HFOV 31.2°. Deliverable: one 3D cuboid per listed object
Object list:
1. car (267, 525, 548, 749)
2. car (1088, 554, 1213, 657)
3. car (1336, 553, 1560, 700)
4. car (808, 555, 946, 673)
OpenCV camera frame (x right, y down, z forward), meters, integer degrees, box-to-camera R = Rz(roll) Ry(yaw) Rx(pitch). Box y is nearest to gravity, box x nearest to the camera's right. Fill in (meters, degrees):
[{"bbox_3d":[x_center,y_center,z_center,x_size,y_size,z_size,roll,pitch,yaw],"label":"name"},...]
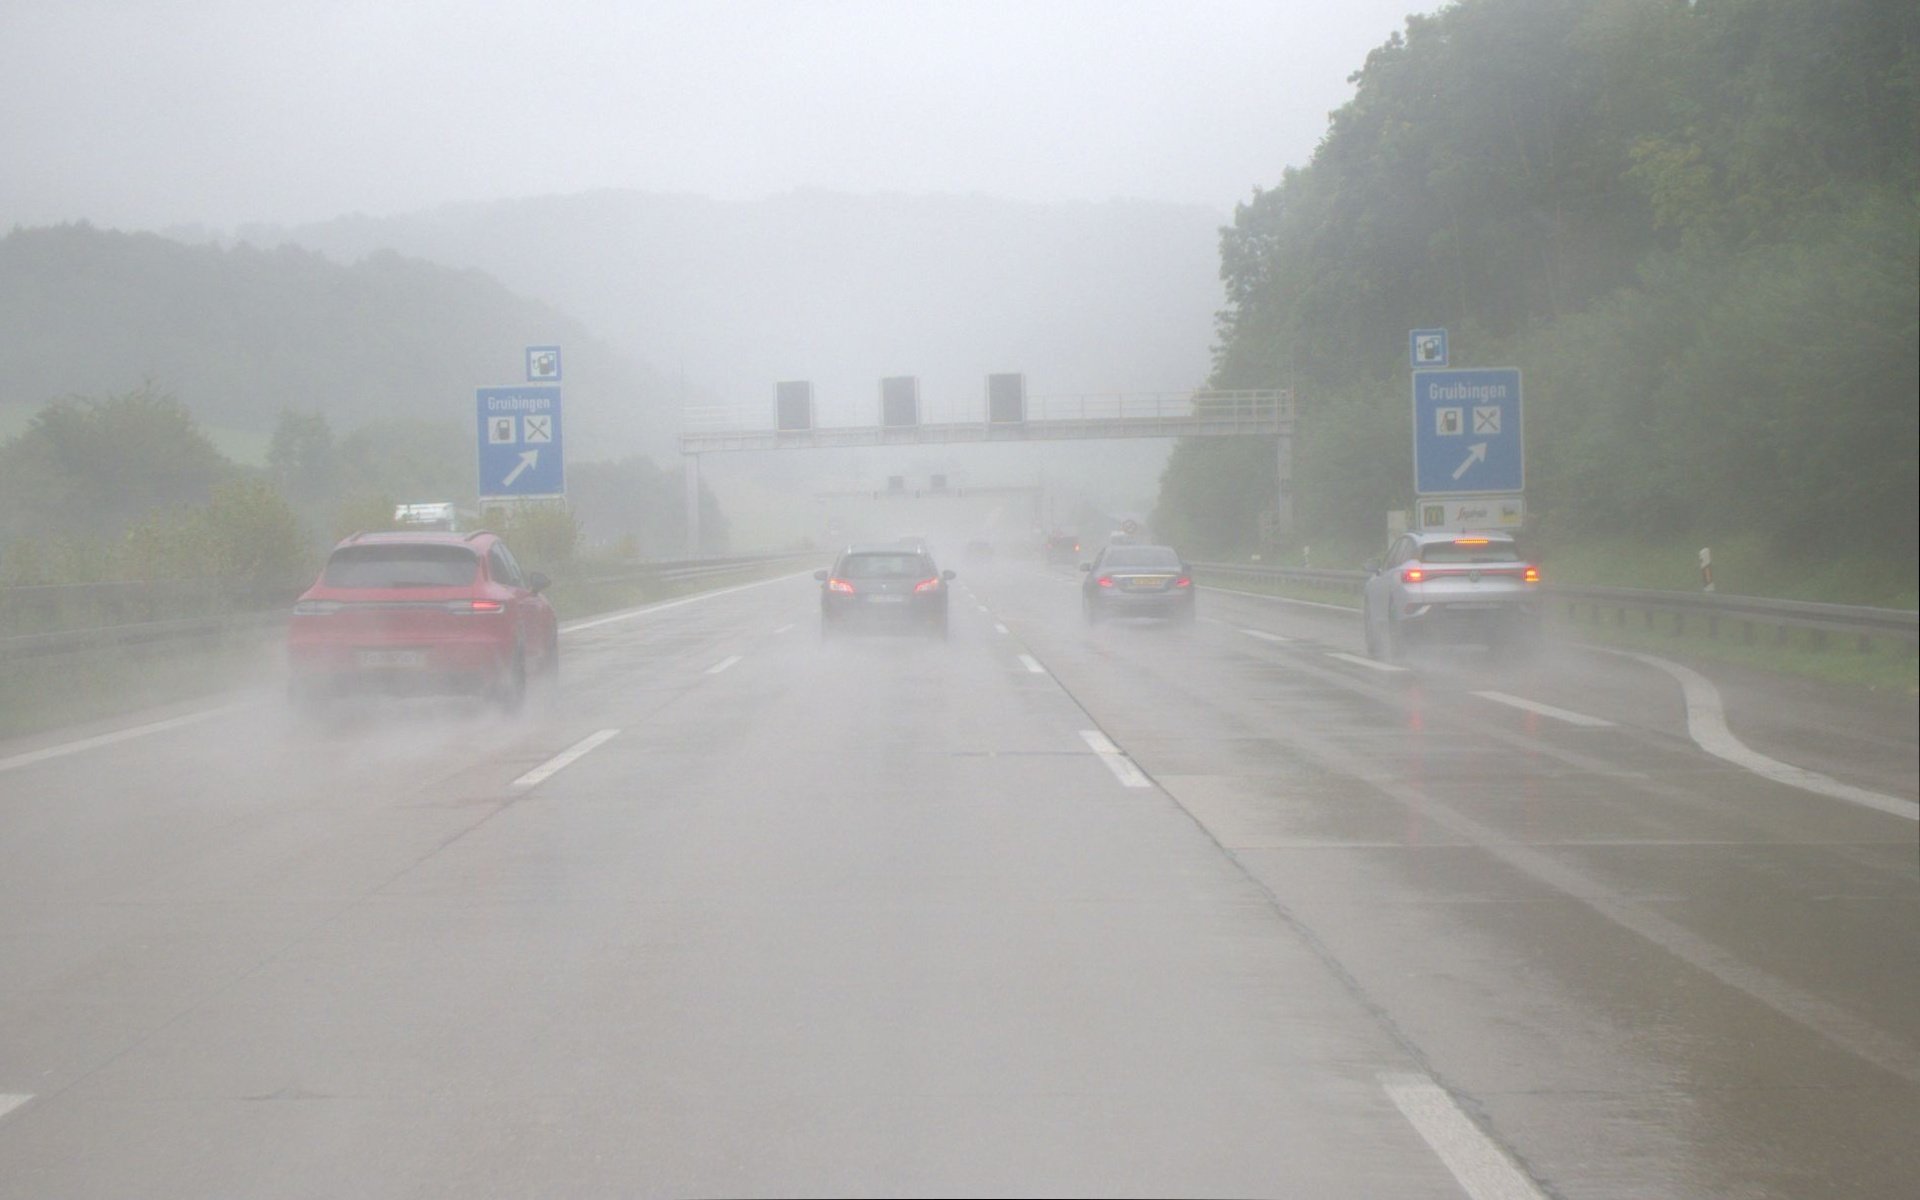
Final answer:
[{"bbox_3d":[-4.707,0.264,29.798,1.884,1.809,4.000,0,1,-2],"label":"car"},{"bbox_3d":[3.381,0.069,61.590,1.971,1.754,4.000,0,1,-1],"label":"car"},{"bbox_3d":[6.171,0.288,44.151,1.993,1.744,5.663,1,1,-1],"label":"car"},{"bbox_3d":[-1.159,0.171,49.058,1.859,1.584,4.000,1,1,-1],"label":"car"}]
